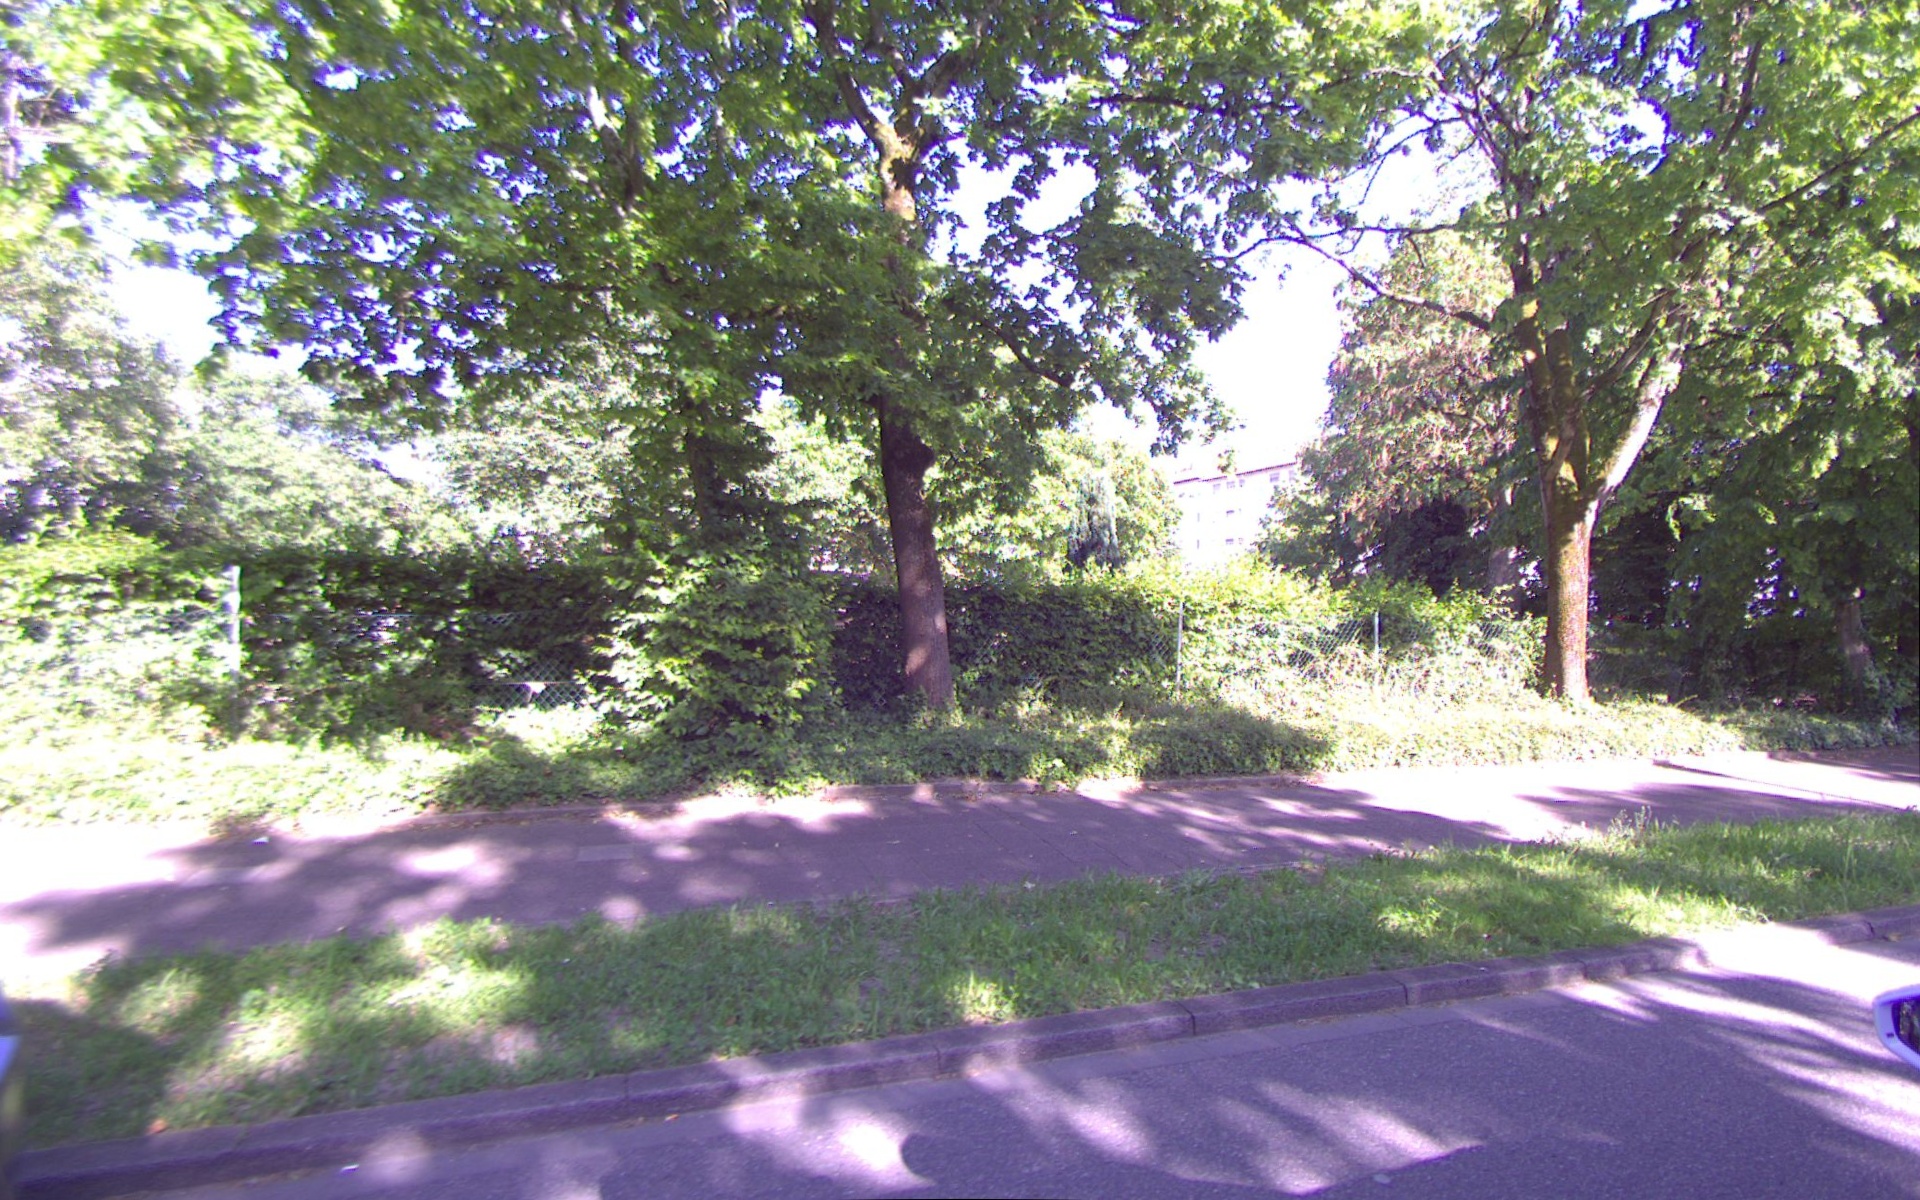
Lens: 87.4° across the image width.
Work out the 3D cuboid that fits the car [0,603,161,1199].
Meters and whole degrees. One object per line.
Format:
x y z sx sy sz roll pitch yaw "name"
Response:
-3.377 0.707 0.621 4.187 1.473 1.749 1 -1 -27 "car"
